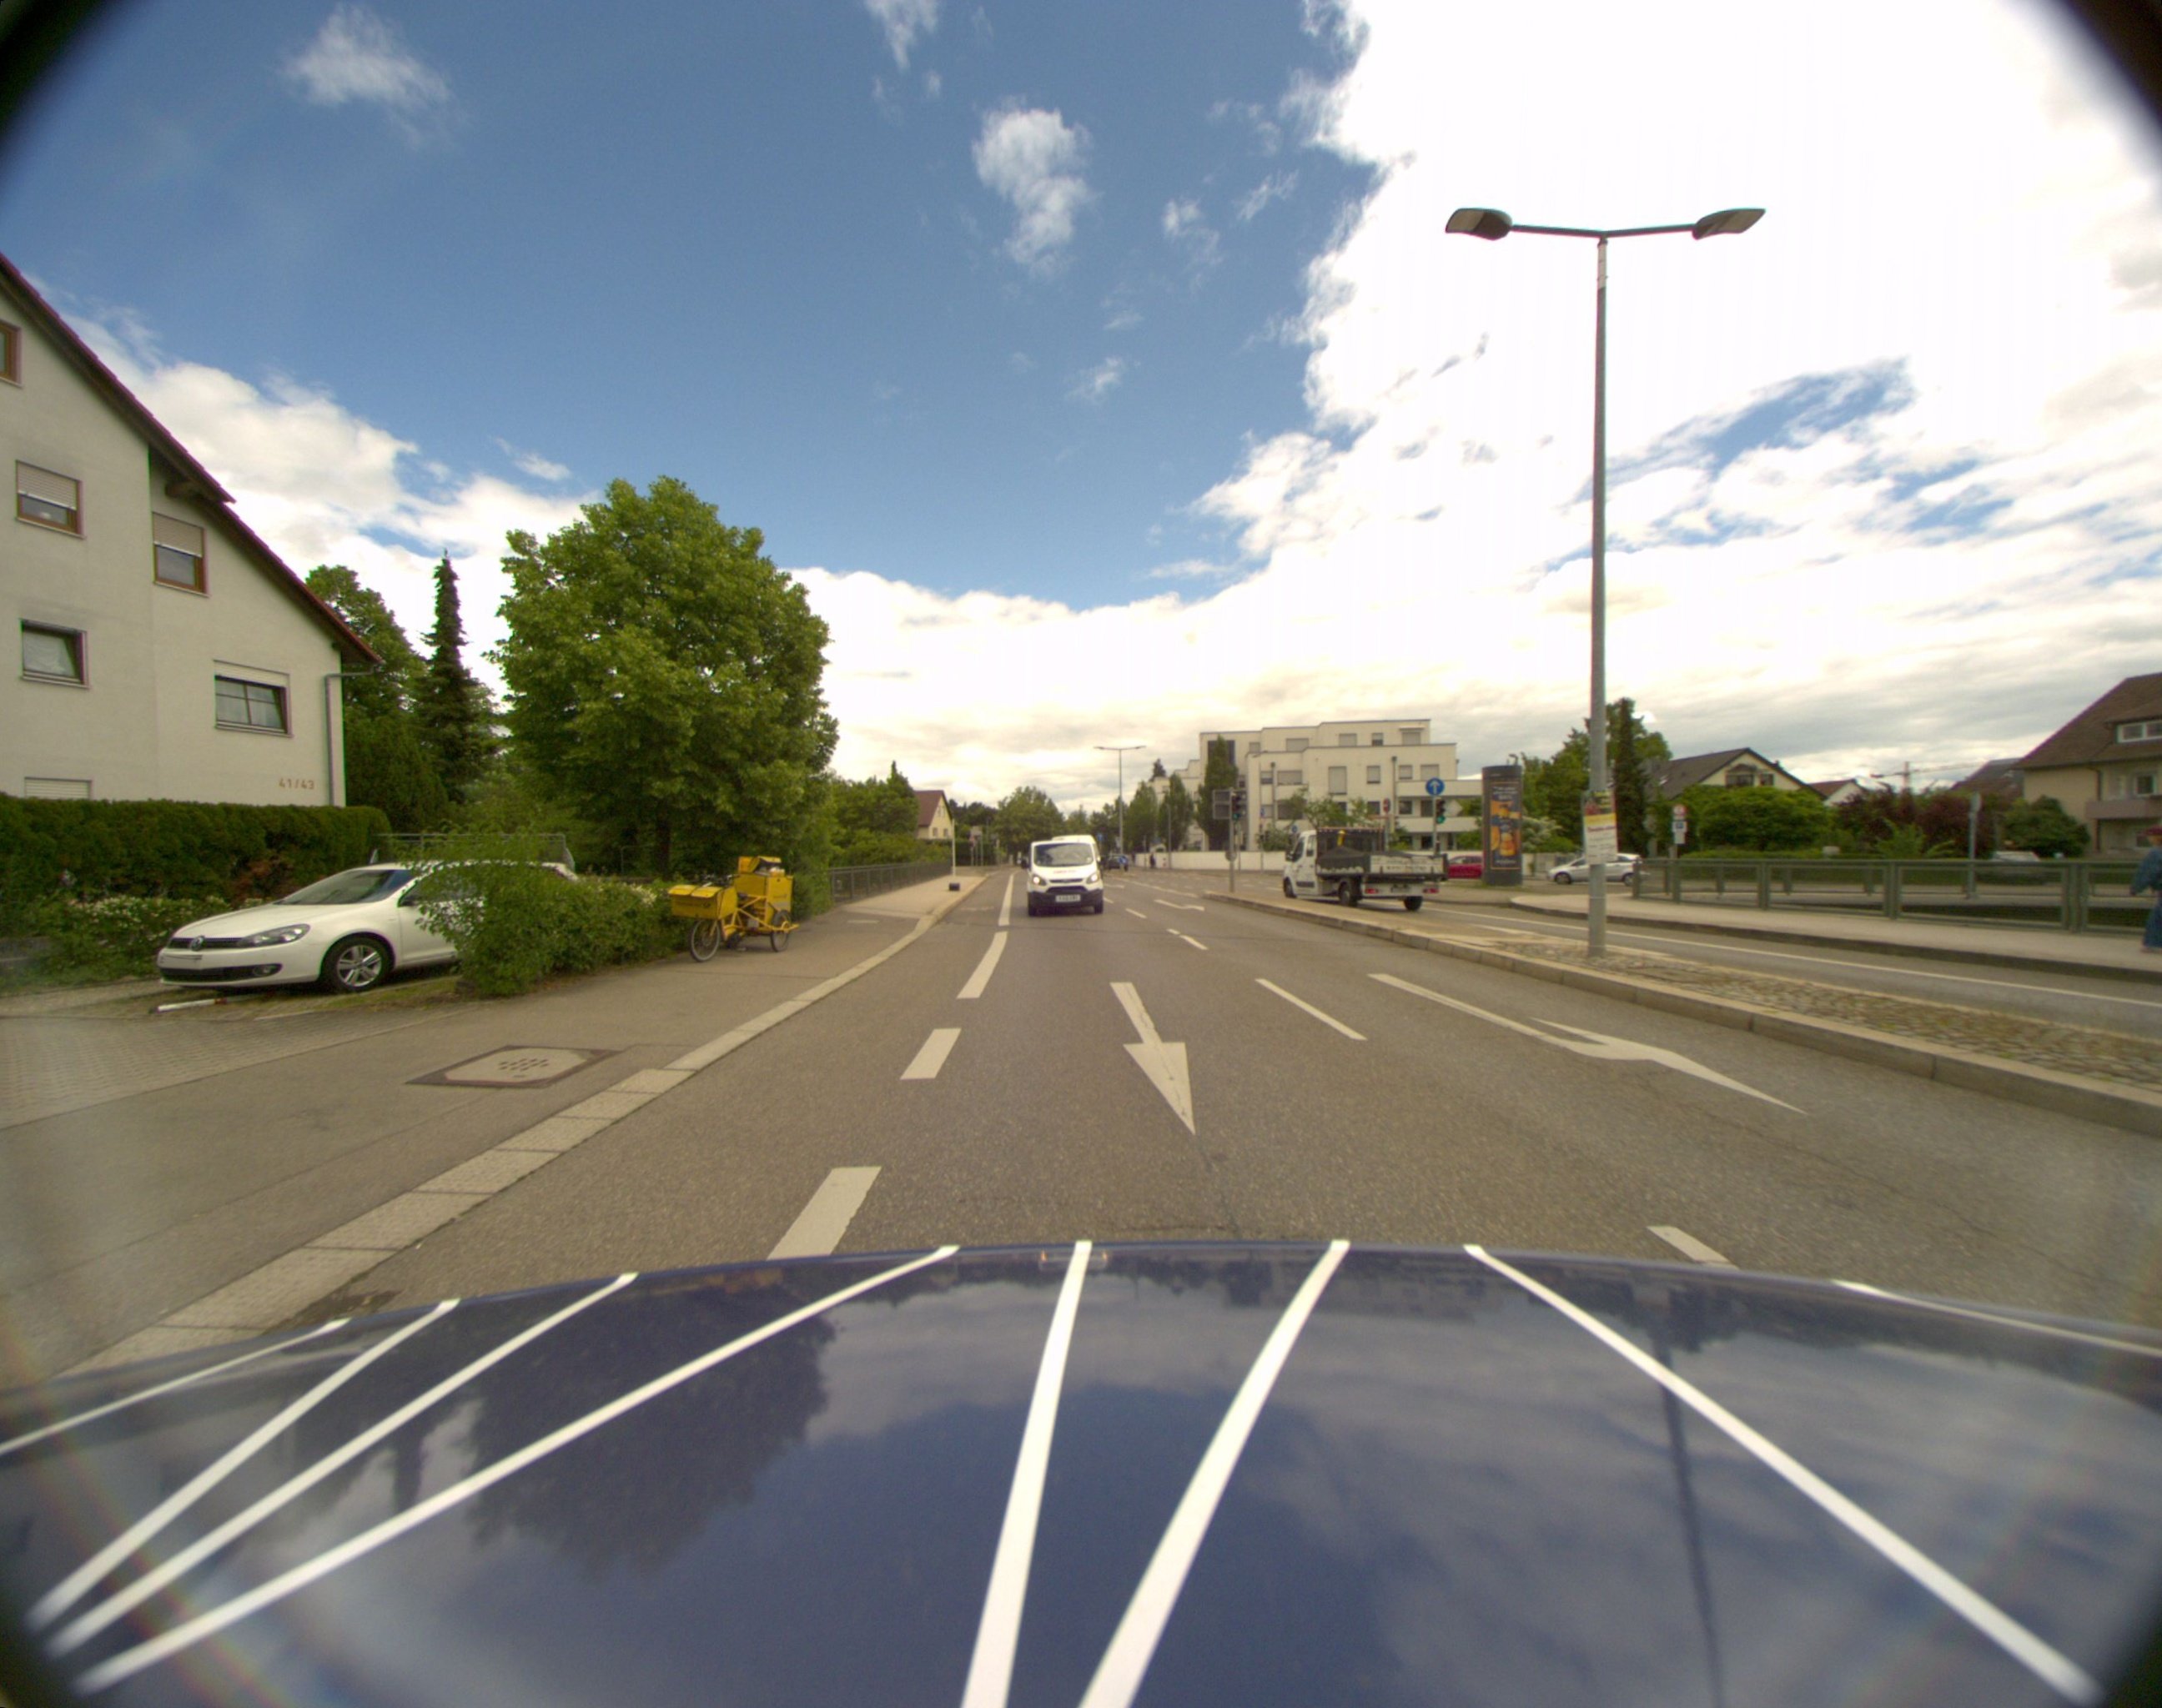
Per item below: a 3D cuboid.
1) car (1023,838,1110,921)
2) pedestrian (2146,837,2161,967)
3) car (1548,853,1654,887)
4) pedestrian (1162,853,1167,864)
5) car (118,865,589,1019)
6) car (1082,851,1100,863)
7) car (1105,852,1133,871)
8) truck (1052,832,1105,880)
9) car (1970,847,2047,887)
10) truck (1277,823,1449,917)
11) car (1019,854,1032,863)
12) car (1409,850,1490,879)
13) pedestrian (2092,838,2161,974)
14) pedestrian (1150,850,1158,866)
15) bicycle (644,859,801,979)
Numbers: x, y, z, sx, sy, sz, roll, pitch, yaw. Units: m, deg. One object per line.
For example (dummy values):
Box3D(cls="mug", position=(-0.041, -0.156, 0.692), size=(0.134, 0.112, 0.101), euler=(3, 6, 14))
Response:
Box3D(cls="car", position=(-0.424, 0.625, 21.521), size=(2.075, 1.956, 5.556), euler=(-3, 0, -1))
Box3D(cls="pedestrian", position=(13.954, 0.598, 9.318), size=(0.658, 1.624, 0.832), euler=(-2, 1, -10))
Box3D(cls="car", position=(25.521, 0.755, 37.348), size=(4.117, 1.526, 1.651), euler=(2, 1, 41))
Box3D(cls="pedestrian", position=(7.953, 0.456, 72.392), size=(0.326, 1.056, 0.444), euler=(-5, 1, -6))
Box3D(cls="car", position=(-8.532, 0.900, 9.519), size=(1.673, 1.495, 4.063), euler=(-1, -1, 9))
Box3D(cls="car", position=(1.167, 0.332, 91.340), size=(1.726, 1.439, 4.064), euler=(1, 0, -6))
Box3D(cls="car", position=(3.474, 0.636, 69.891), size=(1.828, 1.617, 4.276), euler=(1, 0, -6))
Box3D(cls="truck", position=(-0.256, 0.088, 43.630), size=(2.038, 2.555, 6.052), euler=(0, 0, -10))
Box3D(cls="car", position=(42.758, 0.587, 35.101), size=(1.782, 1.571, 4.007), euler=(-3, 1, 44))
Box3D(cls="truck", position=(7.700, 0.362, 21.789), size=(2.131, 2.251, 6.803), euler=(0, 1, -3))
Box3D(cls="car", position=(-8.236, 0.630, 112.394), size=(1.561, 1.343, 3.540), euler=(1, 0, 1))
Box3D(cls="car", position=(20.353, 0.545, 42.065), size=(3.692, 1.438, 1.779), euler=(2, 2, 39))
Box3D(cls="pedestrian", position=(13.277, 0.621, 9.196), size=(0.658, 1.624, 1.070), euler=(-2, 1, -10))
Box3D(cls="pedestrian", position=(7.112, 0.364, 73.949), size=(0.533, 1.534, 0.731), euler=(-5, 1, -7))
Box3D(cls="bicycle", position=(-5.209, 0.855, 11.333), size=(0.893, 1.502, 2.783), euler=(4, 0, 1))
